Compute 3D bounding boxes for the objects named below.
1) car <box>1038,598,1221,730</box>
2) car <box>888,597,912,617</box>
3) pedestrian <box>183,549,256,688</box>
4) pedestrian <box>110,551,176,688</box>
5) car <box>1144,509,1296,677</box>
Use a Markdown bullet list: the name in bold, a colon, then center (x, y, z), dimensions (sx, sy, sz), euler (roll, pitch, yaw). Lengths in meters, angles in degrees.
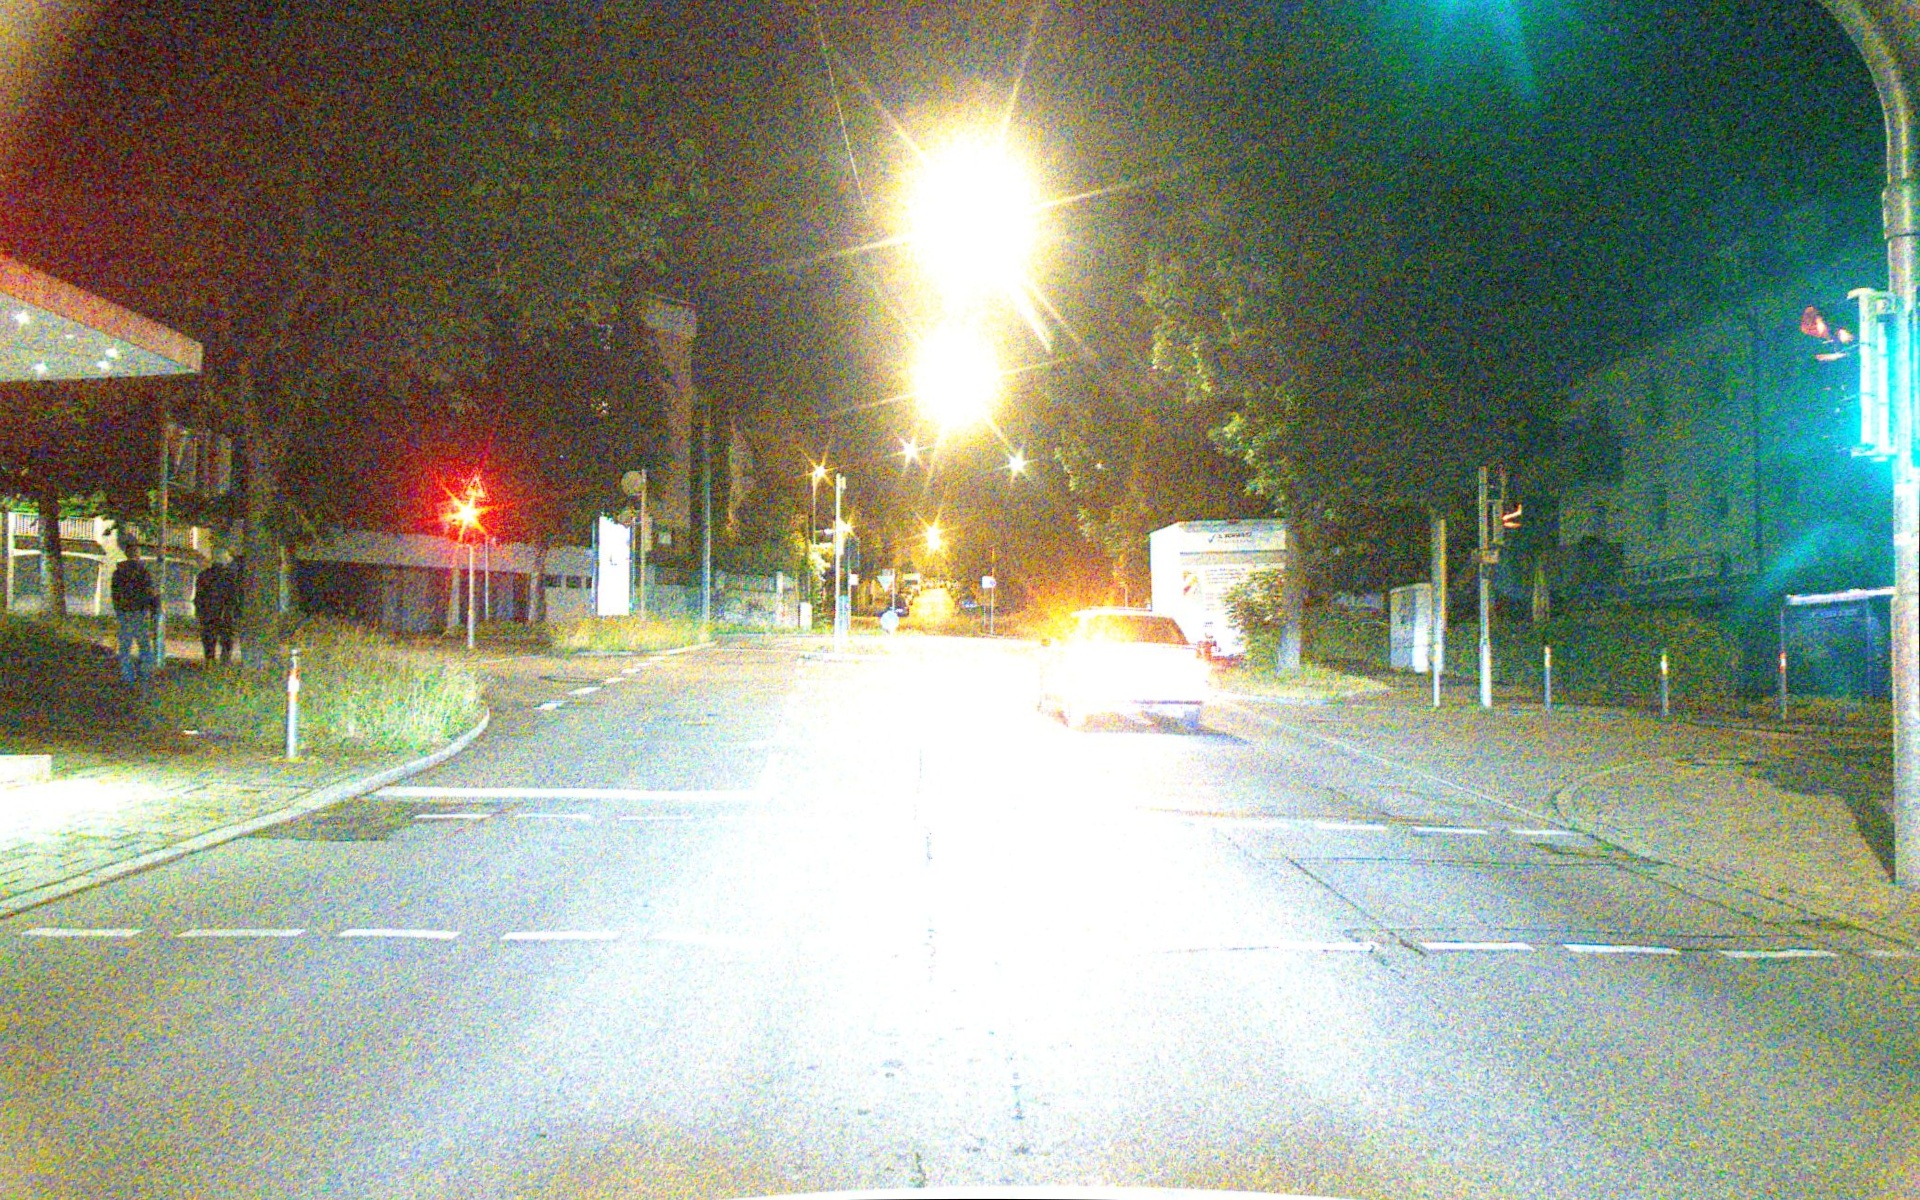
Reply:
- **car**: center (2.077, 0.754, 21.292), dimensions (1.740, 1.512, 3.997), euler (1, 0, -3)
- **car**: center (-4.839, 0.538, 134.299), dimensions (1.869, 1.585, 3.903), euler (1, 0, -1)
- **pedestrian**: center (-9.906, 0.246, 22.142), dimensions (0.558, 1.808, 0.737), euler (3, -1, -1)
- **pedestrian**: center (-10.669, 0.254, 21.622), dimensions (0.558, 1.761, 0.543), euler (1, -1, -1)
- **car**: center (5.255, -0.125, 34.304), dimensions (2.249, 3.147, 5.840), euler (-1, 0, 1)
